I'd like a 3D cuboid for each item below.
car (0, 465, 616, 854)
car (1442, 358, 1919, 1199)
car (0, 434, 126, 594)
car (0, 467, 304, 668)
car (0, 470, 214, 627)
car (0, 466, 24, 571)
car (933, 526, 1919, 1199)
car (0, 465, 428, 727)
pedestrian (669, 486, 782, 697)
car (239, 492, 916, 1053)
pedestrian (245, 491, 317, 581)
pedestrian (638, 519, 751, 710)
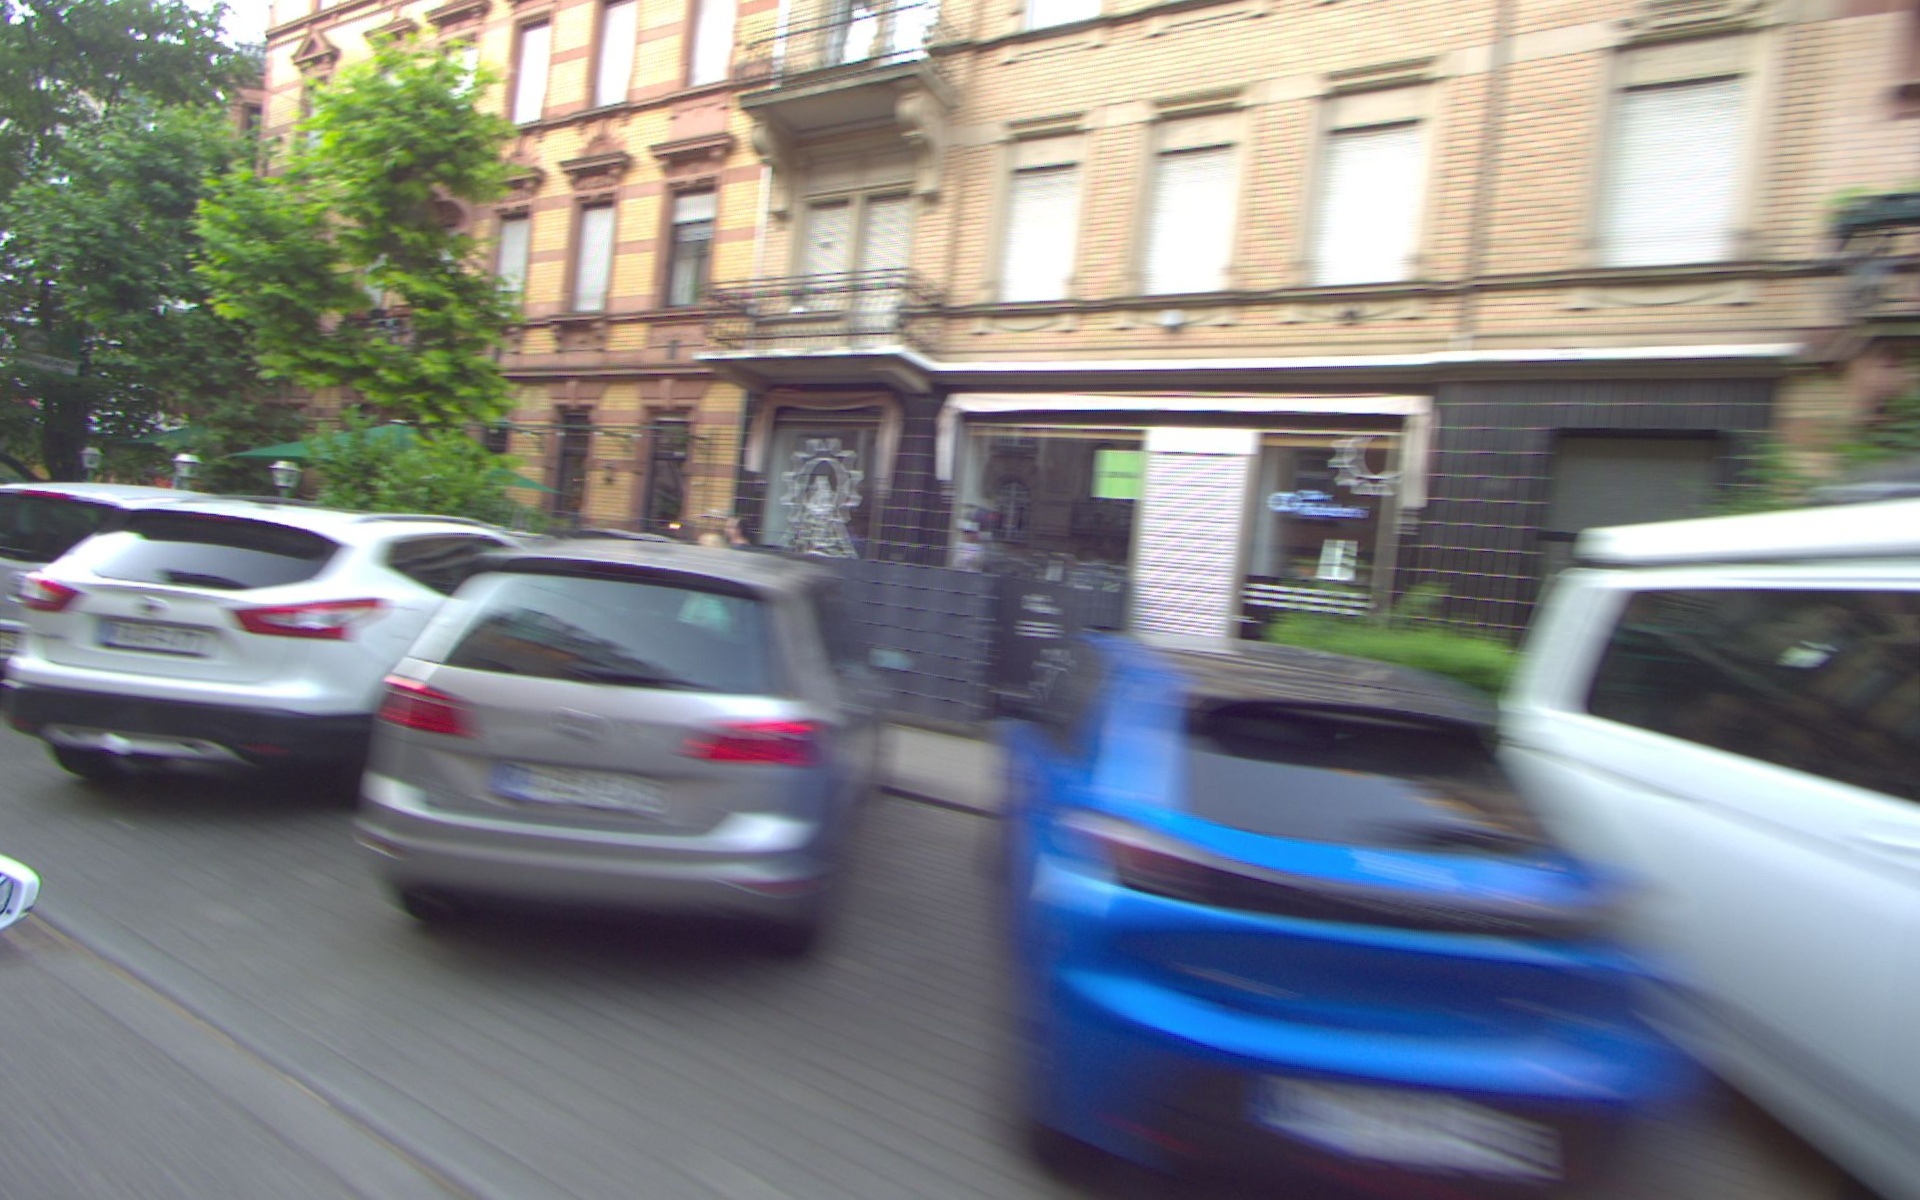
[{"bbox_3d":[-3.909,0.179,6.569,1.785,1.612,4.104,6,2,0],"label":"car"},{"bbox_3d":[3.364,0.669,2.542,1.962,2.392,4.939,7,0,4],"label":"car"},{"bbox_3d":[-13.479,-1.198,12.656,1.900,2.100,5.424,6,2,-8],"label":"car"},{"bbox_3d":[-8.499,-0.401,9.556,1.785,1.573,4.103,6,2,-1],"label":"car"},{"bbox_3d":[-10.654,-0.639,11.071,1.785,1.573,4.103,6,2,-1],"label":"car"},{"bbox_3d":[-15.929,-1.310,13.997,1.898,1.644,4.218,6,2,-3],"label":"car"},{"bbox_3d":[1.007,0.762,4.162,1.850,1.610,4.166,7,0,2],"label":"car"},{"bbox_3d":[-6.372,-0.150,8.576,1.787,1.612,4.099,6,2,-7],"label":"car"},{"bbox_3d":[-2.368,-0.076,10.181,0.644,2.037,0.624,6,-1,30],"label":"pedestrian"},{"bbox_3d":[-1.336,0.495,5.317,1.851,1.612,4.161,7,2,0],"label":"car"},{"bbox_3d":[-11.253,-1.055,16.676,0.685,1.382,0.589,6,-1,27],"label":"pedestrian"},{"bbox_3d":[-2.505,0.135,9.497,0.621,1.700,0.648,7,-1,-43],"label":"pedestrian"}]
